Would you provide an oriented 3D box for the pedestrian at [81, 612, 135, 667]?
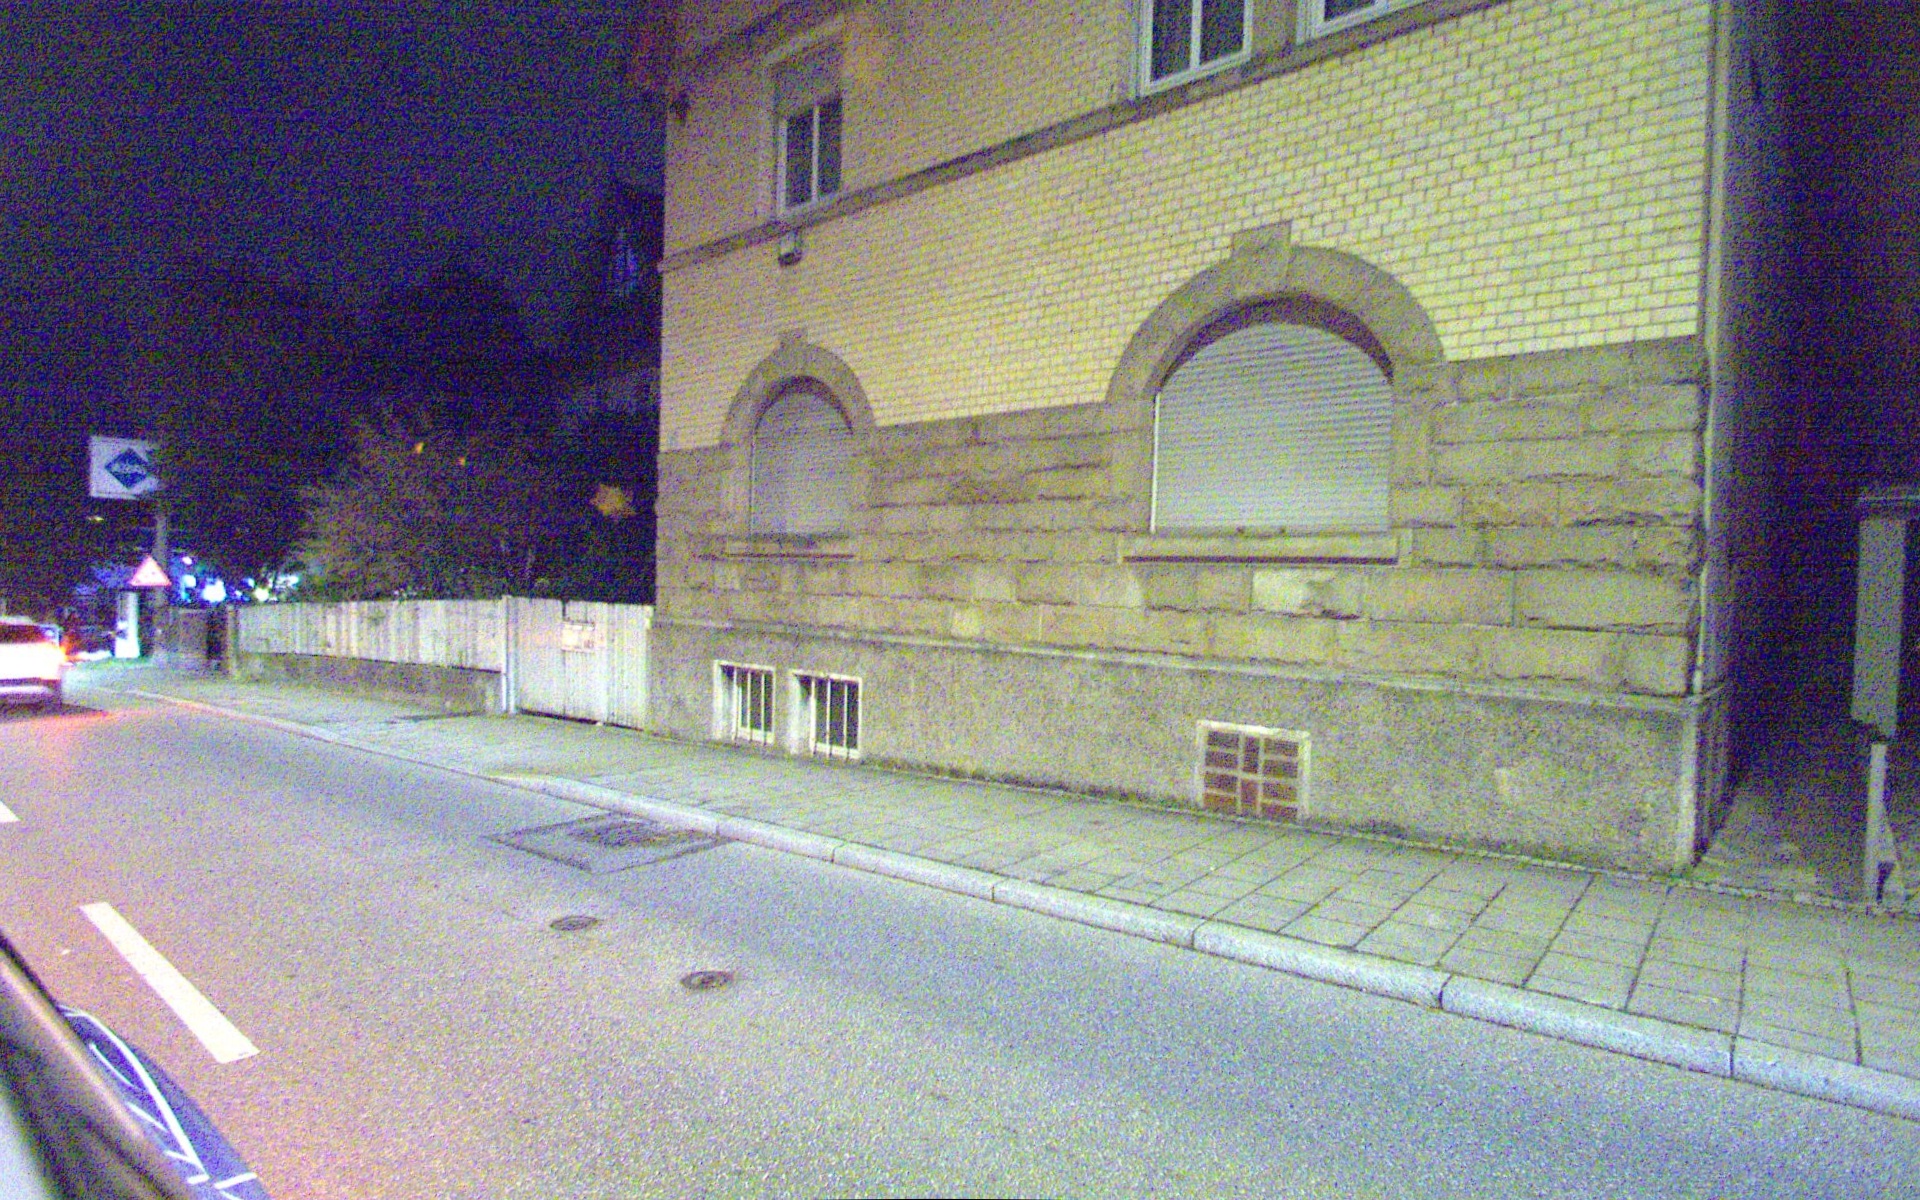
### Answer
[{"bbox_3d":[-26.815,1.227,31.864,0.739,1.684,1.096,-1,0,21],"label":"pedestrian"}]

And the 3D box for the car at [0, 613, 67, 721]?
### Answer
[{"bbox_3d":[-15.657,1.017,15.899,4.024,1.546,1.839,-1,0,39],"label":"car"}]

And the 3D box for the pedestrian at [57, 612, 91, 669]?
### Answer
[{"bbox_3d":[-27.638,1.266,31.576,0.865,1.739,0.662,-1,-1,38],"label":"pedestrian"}]
